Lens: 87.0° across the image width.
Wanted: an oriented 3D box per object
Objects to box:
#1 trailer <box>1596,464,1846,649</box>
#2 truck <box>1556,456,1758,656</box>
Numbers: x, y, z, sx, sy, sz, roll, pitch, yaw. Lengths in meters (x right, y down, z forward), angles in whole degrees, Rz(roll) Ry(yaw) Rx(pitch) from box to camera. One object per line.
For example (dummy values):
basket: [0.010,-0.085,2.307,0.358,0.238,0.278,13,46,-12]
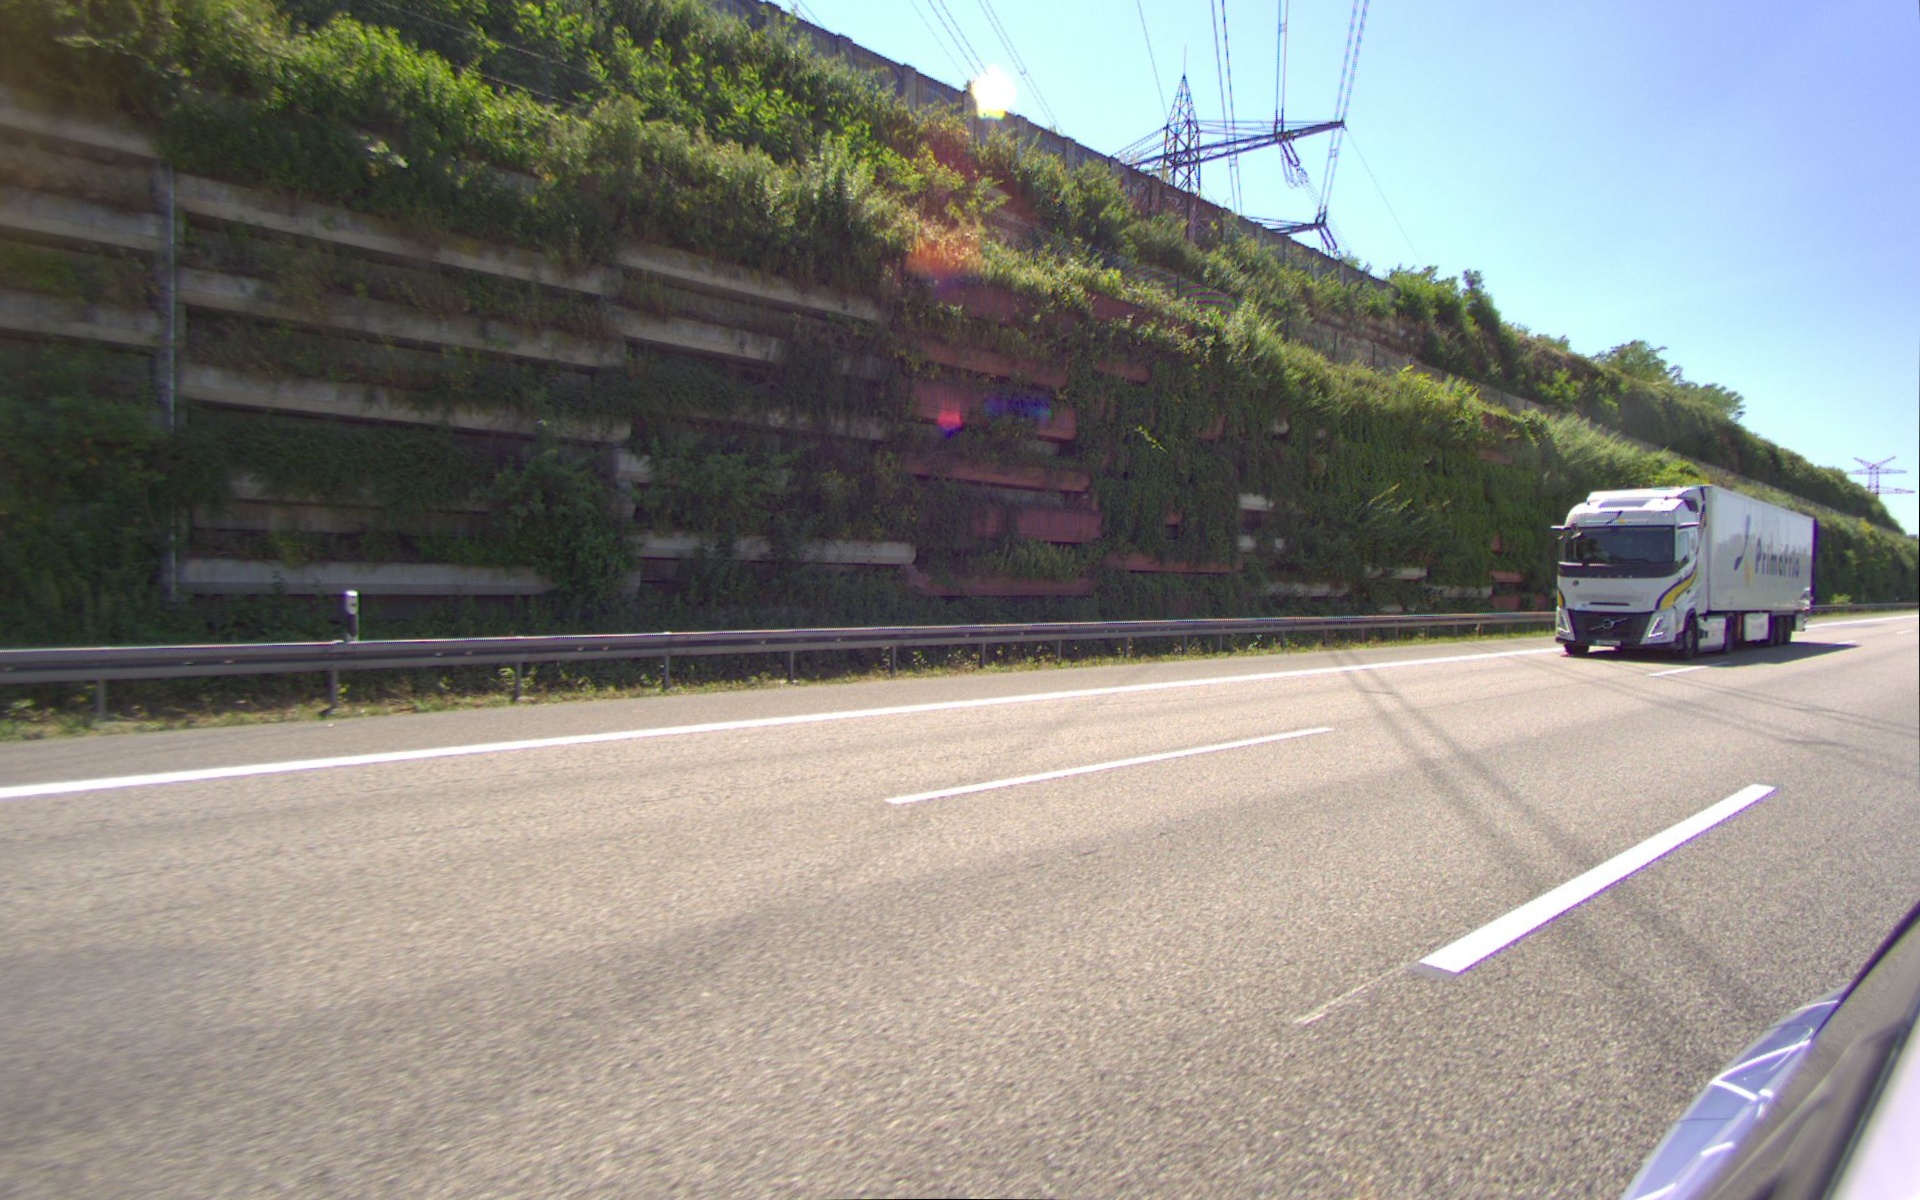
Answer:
trailer: [23.014,-1.063,29.857,16.732,4.264,2.519,0,2,-42]
truck: [17.051,-1.008,24.606,6.147,4.272,2.512,0,2,-41]
